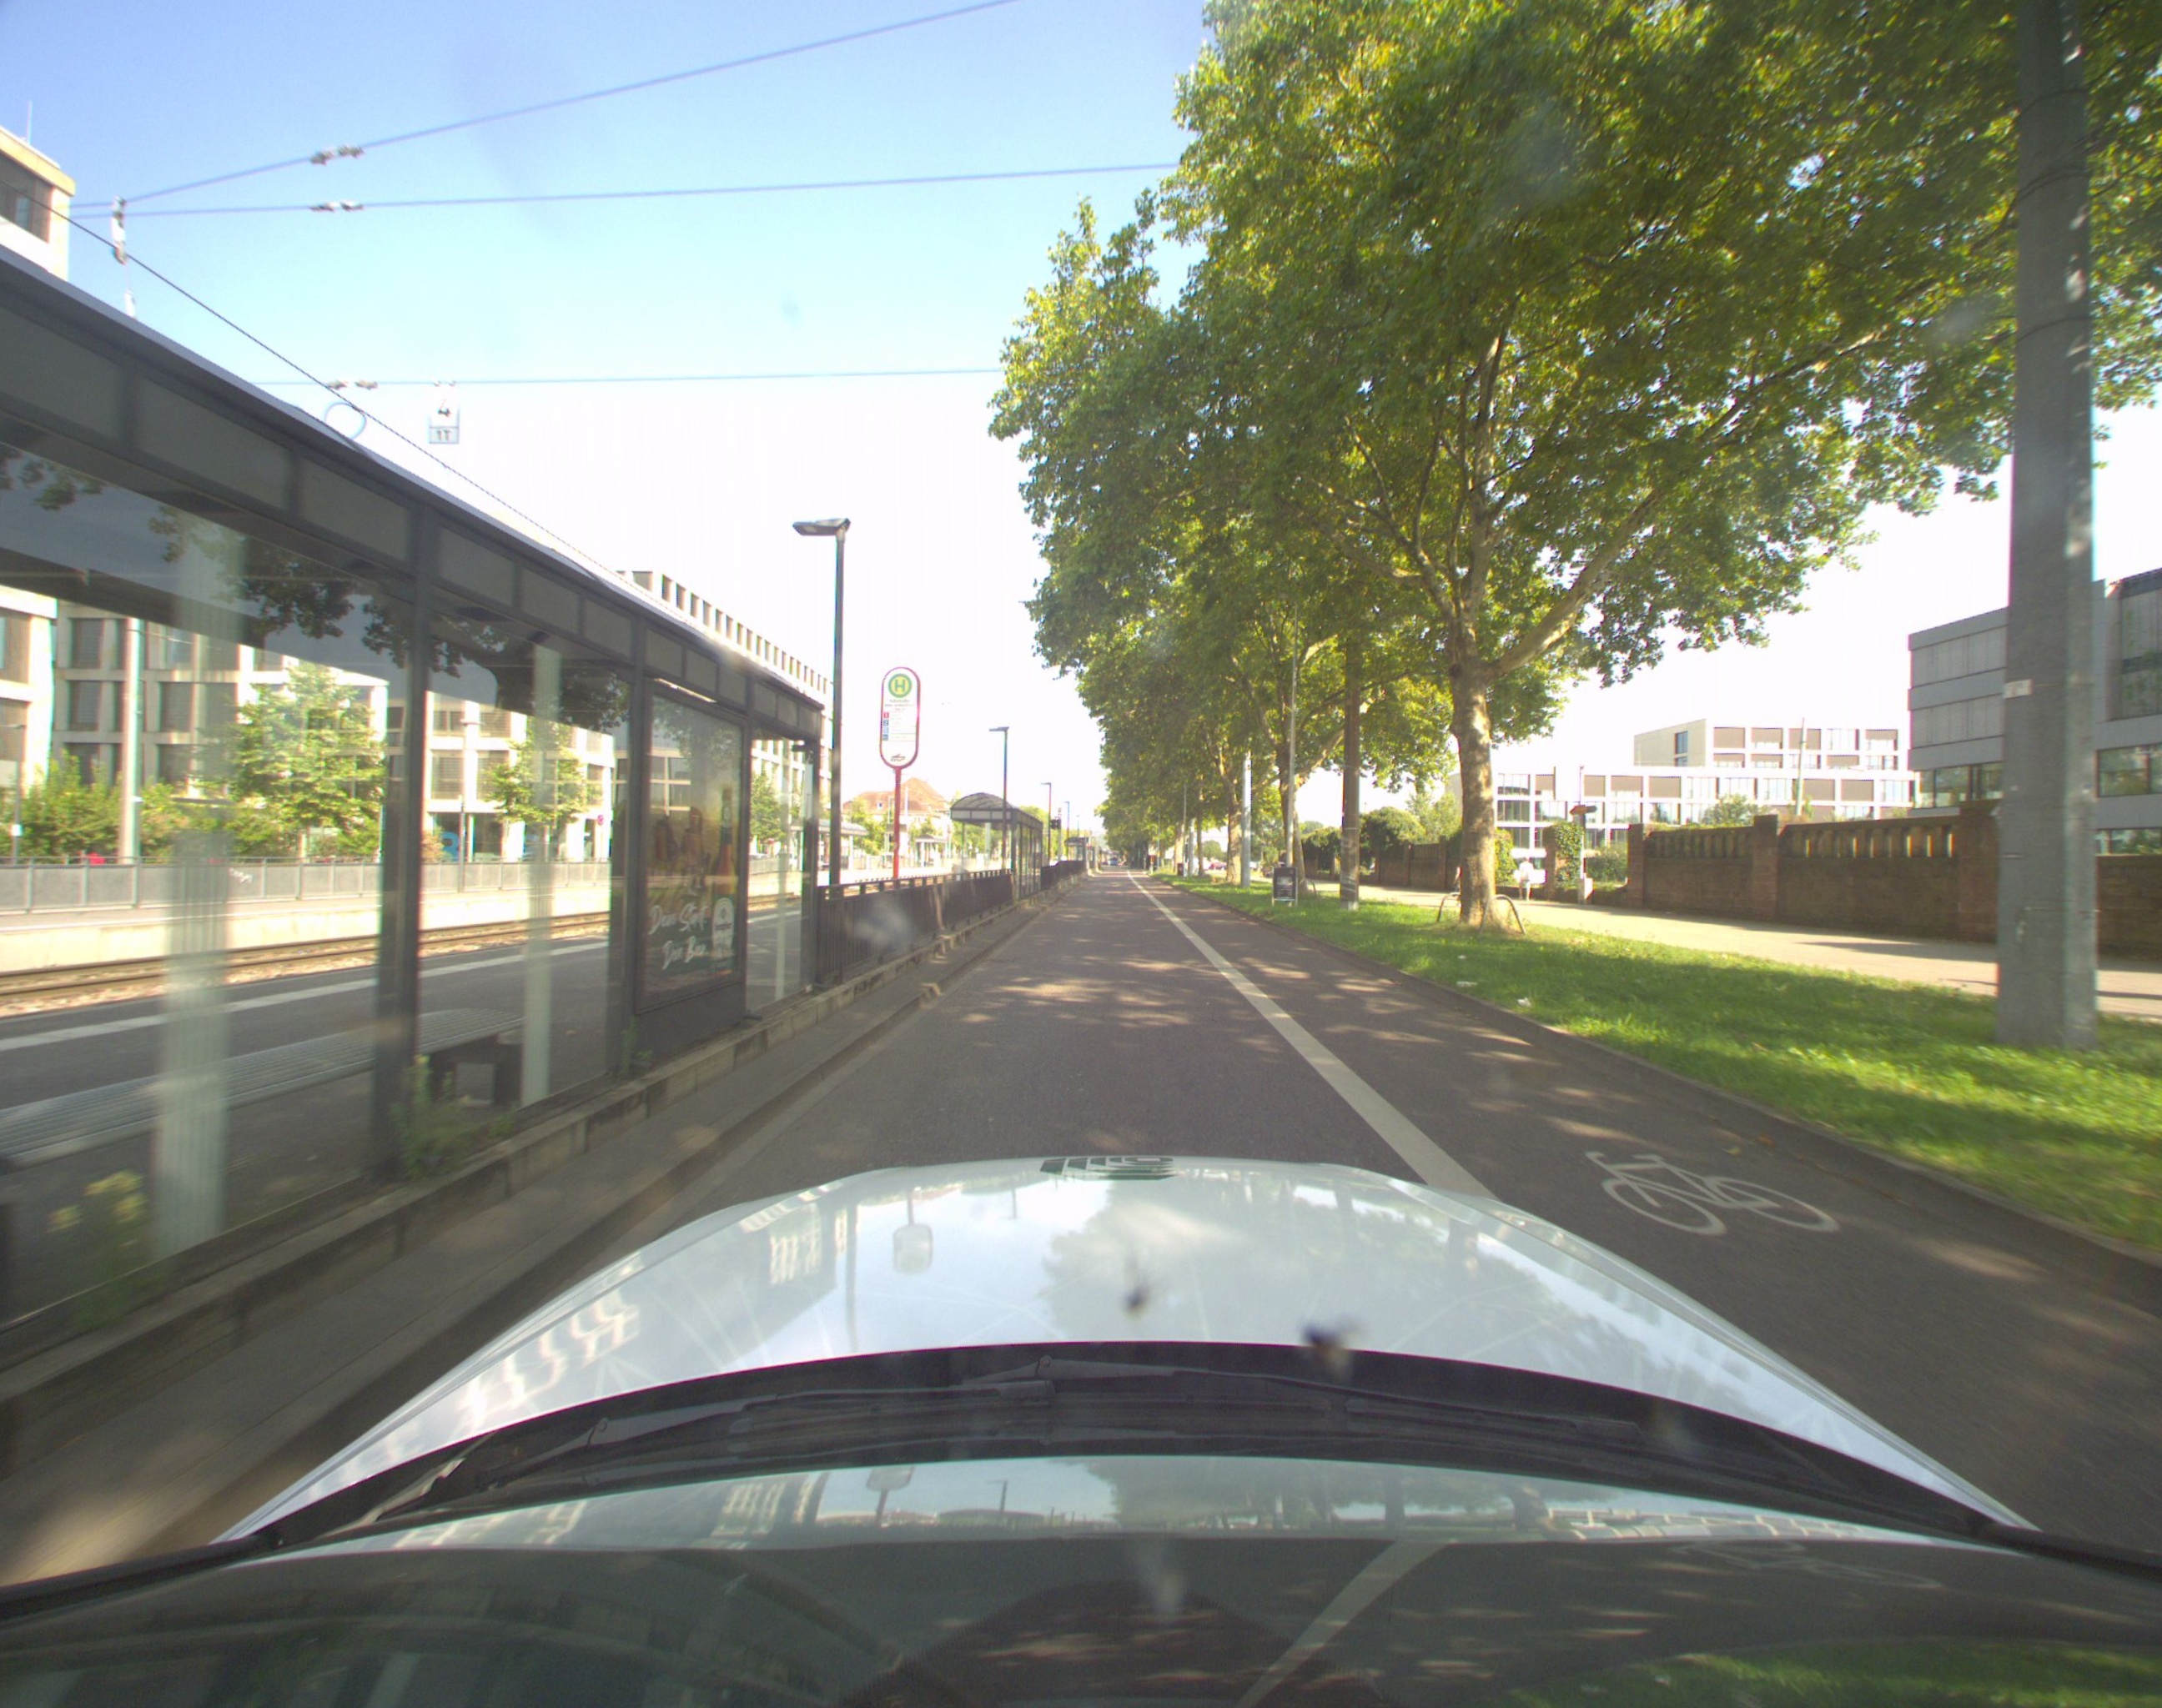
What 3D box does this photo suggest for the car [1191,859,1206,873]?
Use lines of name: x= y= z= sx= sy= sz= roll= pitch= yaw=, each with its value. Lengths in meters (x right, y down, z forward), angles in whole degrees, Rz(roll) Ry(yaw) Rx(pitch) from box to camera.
car: x=17.271 y=1.724 z=120.143 sx=1.715 sy=2.048 sz=4.464 roll=1 pitch=0 yaw=3

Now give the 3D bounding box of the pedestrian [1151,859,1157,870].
pedestrian: x=11.068 y=1.598 z=123.459 sx=0.619 sy=1.617 sz=0.850 roll=0 pitch=-1 yaw=40

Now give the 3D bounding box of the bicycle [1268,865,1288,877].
bicycle: x=17.004 y=1.460 z=70.295 sx=1.648 sy=0.969 sz=0.507 roll=-1 pitch=-1 yaw=4

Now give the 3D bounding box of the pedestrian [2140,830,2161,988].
pedestrian: x=11.957 y=0.586 z=8.369 sx=0.816 sy=1.686 sz=1.012 roll=0 pitch=-1 yaw=2

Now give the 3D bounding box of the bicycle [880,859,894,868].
bicycle: x=-14.745 y=0.702 z=61.981 sx=0.474 sy=0.662 sz=1.616 roll=1 pitch=0 yaw=7

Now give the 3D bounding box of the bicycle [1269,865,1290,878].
bicycle: x=16.044 y=1.409 z=65.880 sx=1.647 sy=0.969 sz=0.507 roll=-1 pitch=-1 yaw=7

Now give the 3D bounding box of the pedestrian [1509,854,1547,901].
pedestrian: x=15.774 y=0.813 z=28.753 sx=0.803 sy=1.604 sz=0.948 roll=-1 pitch=-1 yaw=2

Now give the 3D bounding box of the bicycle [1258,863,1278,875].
bicycle: x=15.719 y=1.289 z=68.448 sx=0.509 sy=0.969 sz=1.642 roll=0 pitch=-1 yaw=-39

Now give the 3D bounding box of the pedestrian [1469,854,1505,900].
pedestrian: x=14.451 y=0.802 z=29.016 sx=0.803 sy=1.604 sz=0.948 roll=-1 pitch=-1 yaw=2

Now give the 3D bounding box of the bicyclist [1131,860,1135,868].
bicyclist: x=9.775 y=1.828 z=154.359 sx=0.703 sy=1.461 sz=1.009 roll=2 pitch=-1 yaw=2

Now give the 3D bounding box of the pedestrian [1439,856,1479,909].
pedestrian: x=11.864 y=0.874 z=25.581 sx=0.803 sy=1.636 sz=0.948 roll=-1 pitch=-1 yaw=2

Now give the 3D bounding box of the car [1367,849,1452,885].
car: x=22.668 y=0.882 z=56.388 sx=5.106 sy=2.368 sz=2.133 roll=0 pitch=0 yaw=5

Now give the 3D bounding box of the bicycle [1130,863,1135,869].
bicycle: x=9.762 y=2.350 z=154.495 sx=0.712 sy=1.107 sz=2.510 roll=2 pitch=-1 yaw=3

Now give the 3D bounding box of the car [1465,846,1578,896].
car: x=22.352 y=0.871 z=41.477 sx=4.644 sy=2.318 sz=2.056 roll=2 pitch=-1 yaw=2
